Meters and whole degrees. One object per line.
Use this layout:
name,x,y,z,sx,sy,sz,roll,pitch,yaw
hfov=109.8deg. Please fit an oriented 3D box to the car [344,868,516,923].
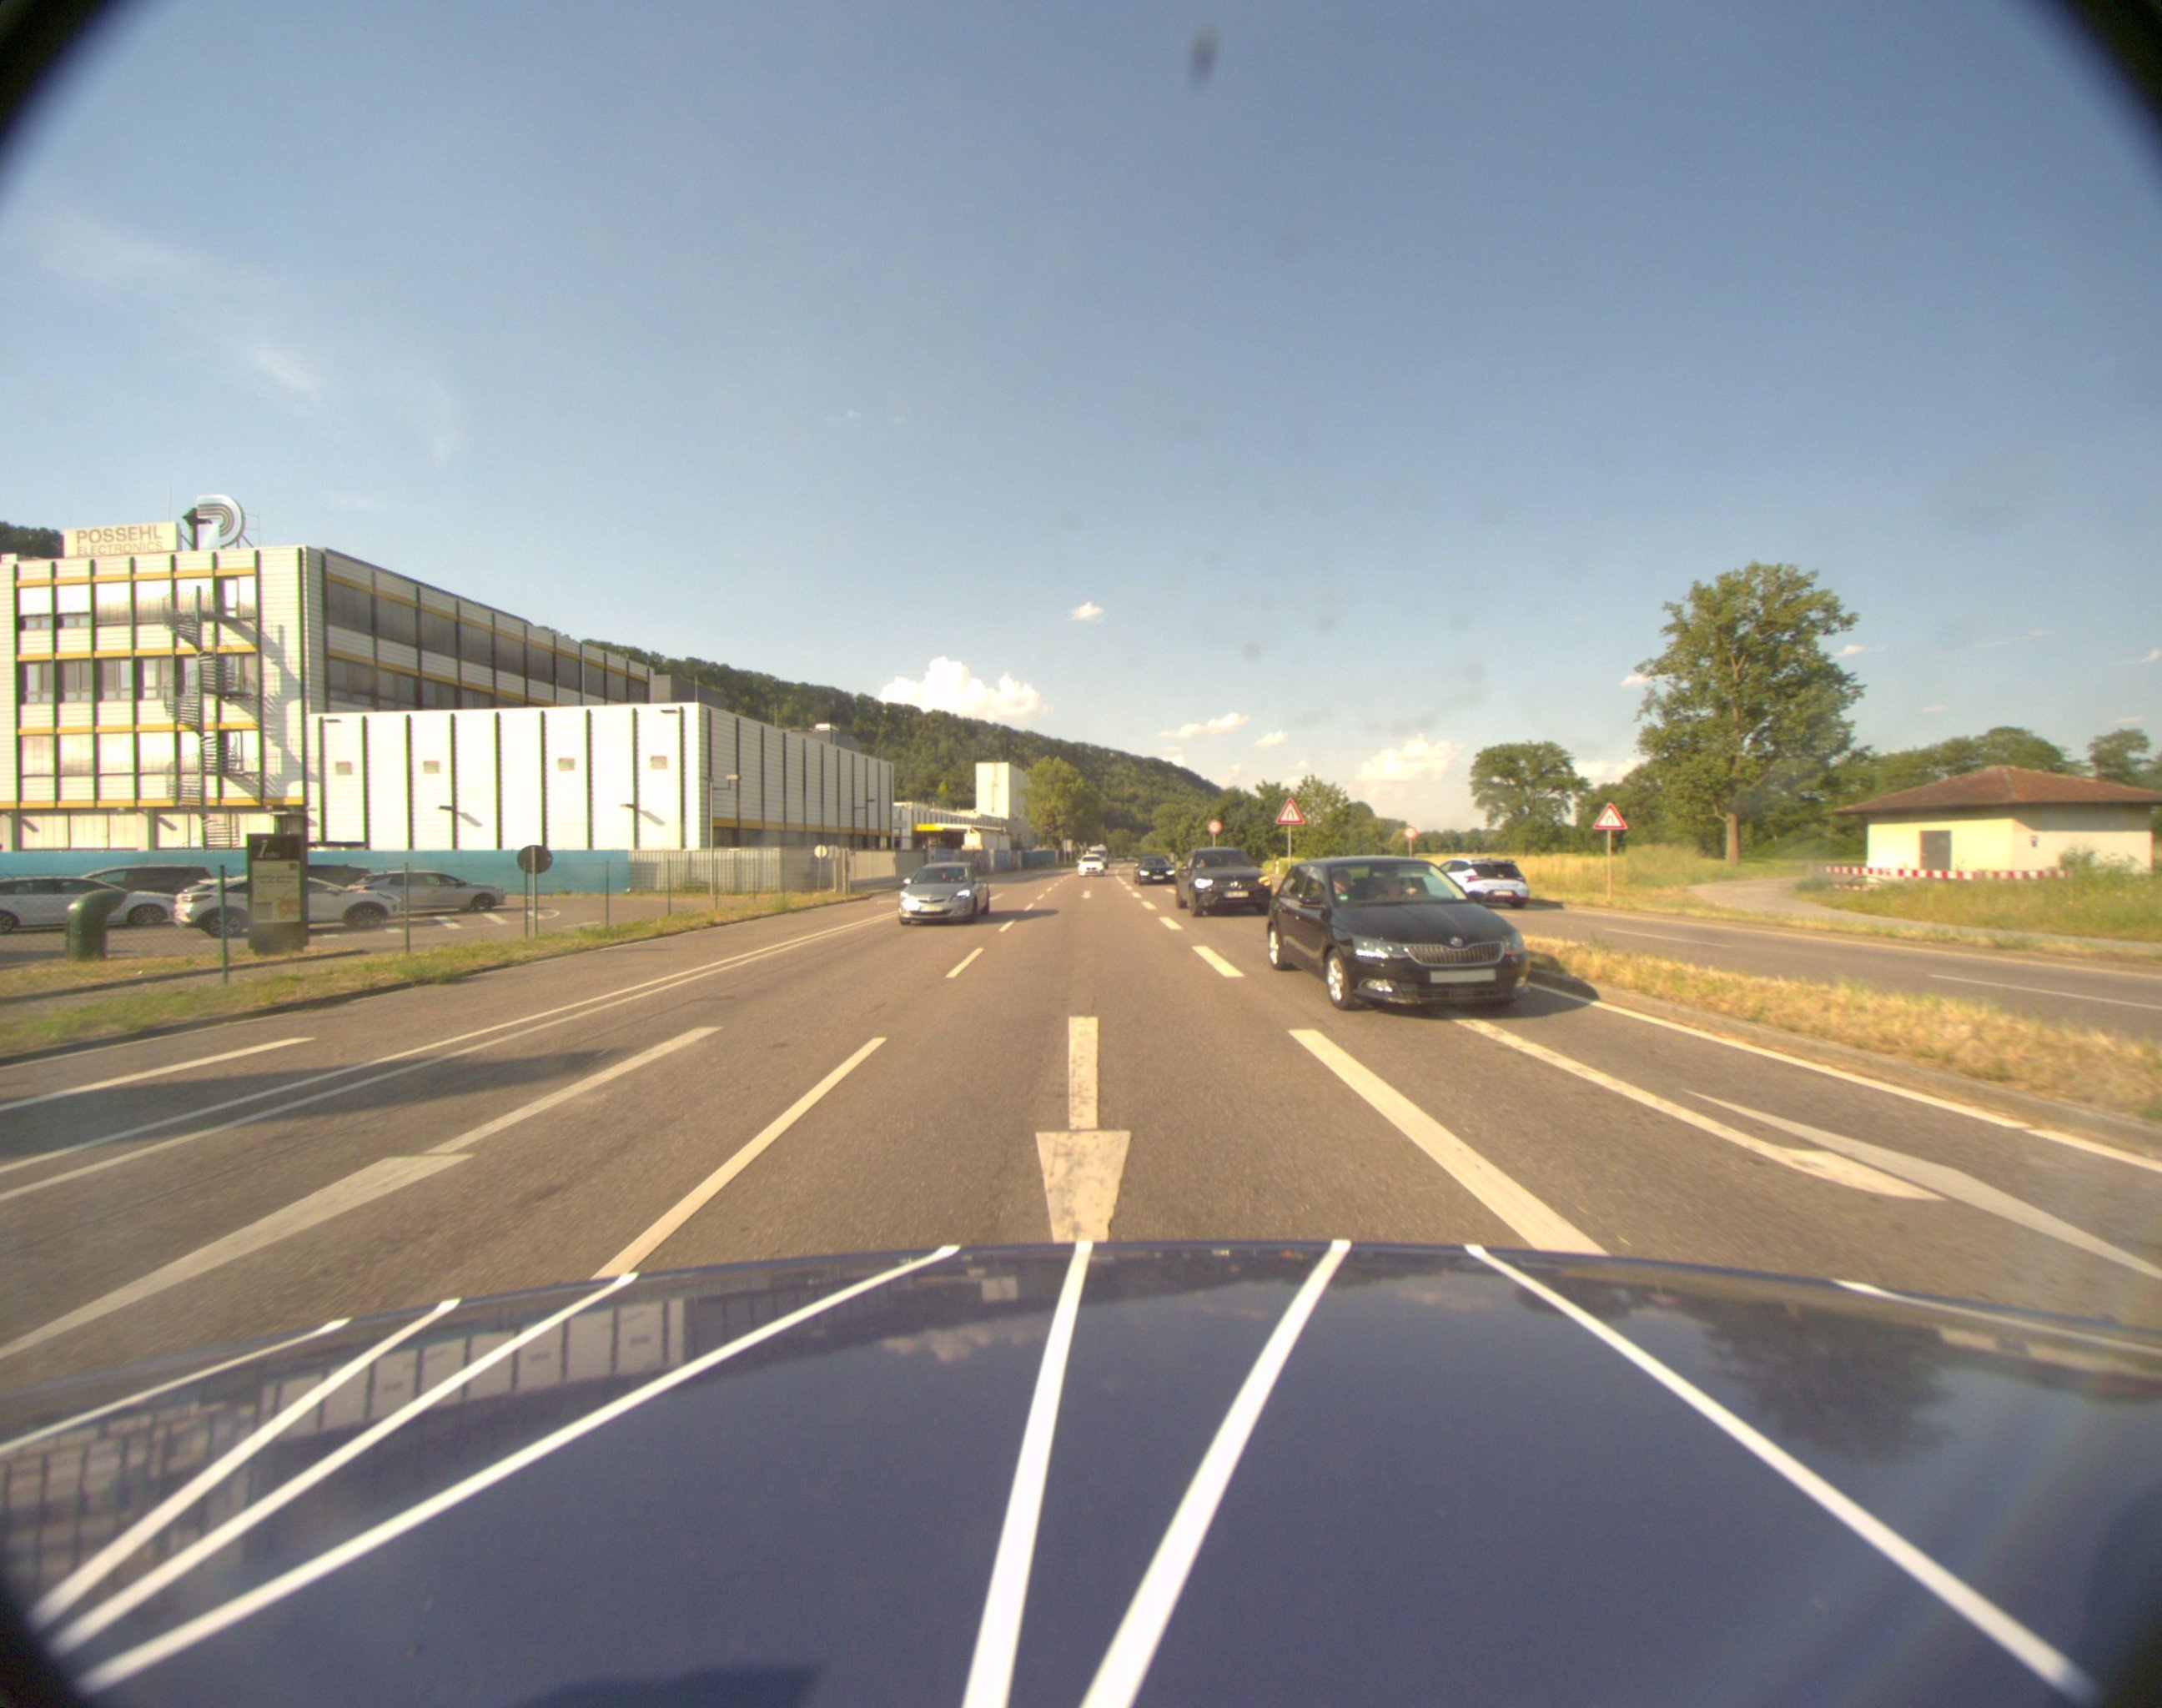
car,-21.455,1.303,25.179,1.872,1.496,3.914,-2,1,34

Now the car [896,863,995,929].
car,-3.251,0.962,18.936,1.690,1.383,3.883,-1,1,1

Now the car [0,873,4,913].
car,-39.303,1.440,25.376,1.791,1.407,3.677,-2,1,32

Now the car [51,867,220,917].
car,-32.526,1.266,26.225,1.693,1.447,3.435,-2,1,32

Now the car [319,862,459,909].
car,-25.794,1.146,28.434,1.694,1.521,3.434,-2,1,26

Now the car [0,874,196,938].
car,-27.433,1.387,20.873,1.693,1.447,3.782,-2,1,32

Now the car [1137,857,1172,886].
car,3.660,0.840,38.123,1.642,1.285,3.885,0,1,5

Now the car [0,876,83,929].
car,-30.368,1.398,20.879,1.453,1.380,3.388,-2,1,32

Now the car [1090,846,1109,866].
car,2.024,0.200,85.205,1.795,2.155,4.588,0,1,-2

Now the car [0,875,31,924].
car,-33.208,1.413,21.664,1.791,1.407,3.677,-2,1,32

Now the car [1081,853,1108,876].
car,0.998,0.769,56.470,1.825,1.551,4.000,-2,1,1

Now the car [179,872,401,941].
car,-21.359,1.337,20.665,1.872,1.496,3.914,-2,1,36

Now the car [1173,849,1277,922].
car,3.499,0.699,19.270,1.858,1.565,4.144,-2,1,1

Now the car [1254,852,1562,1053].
car,3.135,0.807,8.218,1.617,1.565,4.000,-2,1,1

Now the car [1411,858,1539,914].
car,11.617,0.891,22.756,1.712,1.426,4.144,1,1,1
